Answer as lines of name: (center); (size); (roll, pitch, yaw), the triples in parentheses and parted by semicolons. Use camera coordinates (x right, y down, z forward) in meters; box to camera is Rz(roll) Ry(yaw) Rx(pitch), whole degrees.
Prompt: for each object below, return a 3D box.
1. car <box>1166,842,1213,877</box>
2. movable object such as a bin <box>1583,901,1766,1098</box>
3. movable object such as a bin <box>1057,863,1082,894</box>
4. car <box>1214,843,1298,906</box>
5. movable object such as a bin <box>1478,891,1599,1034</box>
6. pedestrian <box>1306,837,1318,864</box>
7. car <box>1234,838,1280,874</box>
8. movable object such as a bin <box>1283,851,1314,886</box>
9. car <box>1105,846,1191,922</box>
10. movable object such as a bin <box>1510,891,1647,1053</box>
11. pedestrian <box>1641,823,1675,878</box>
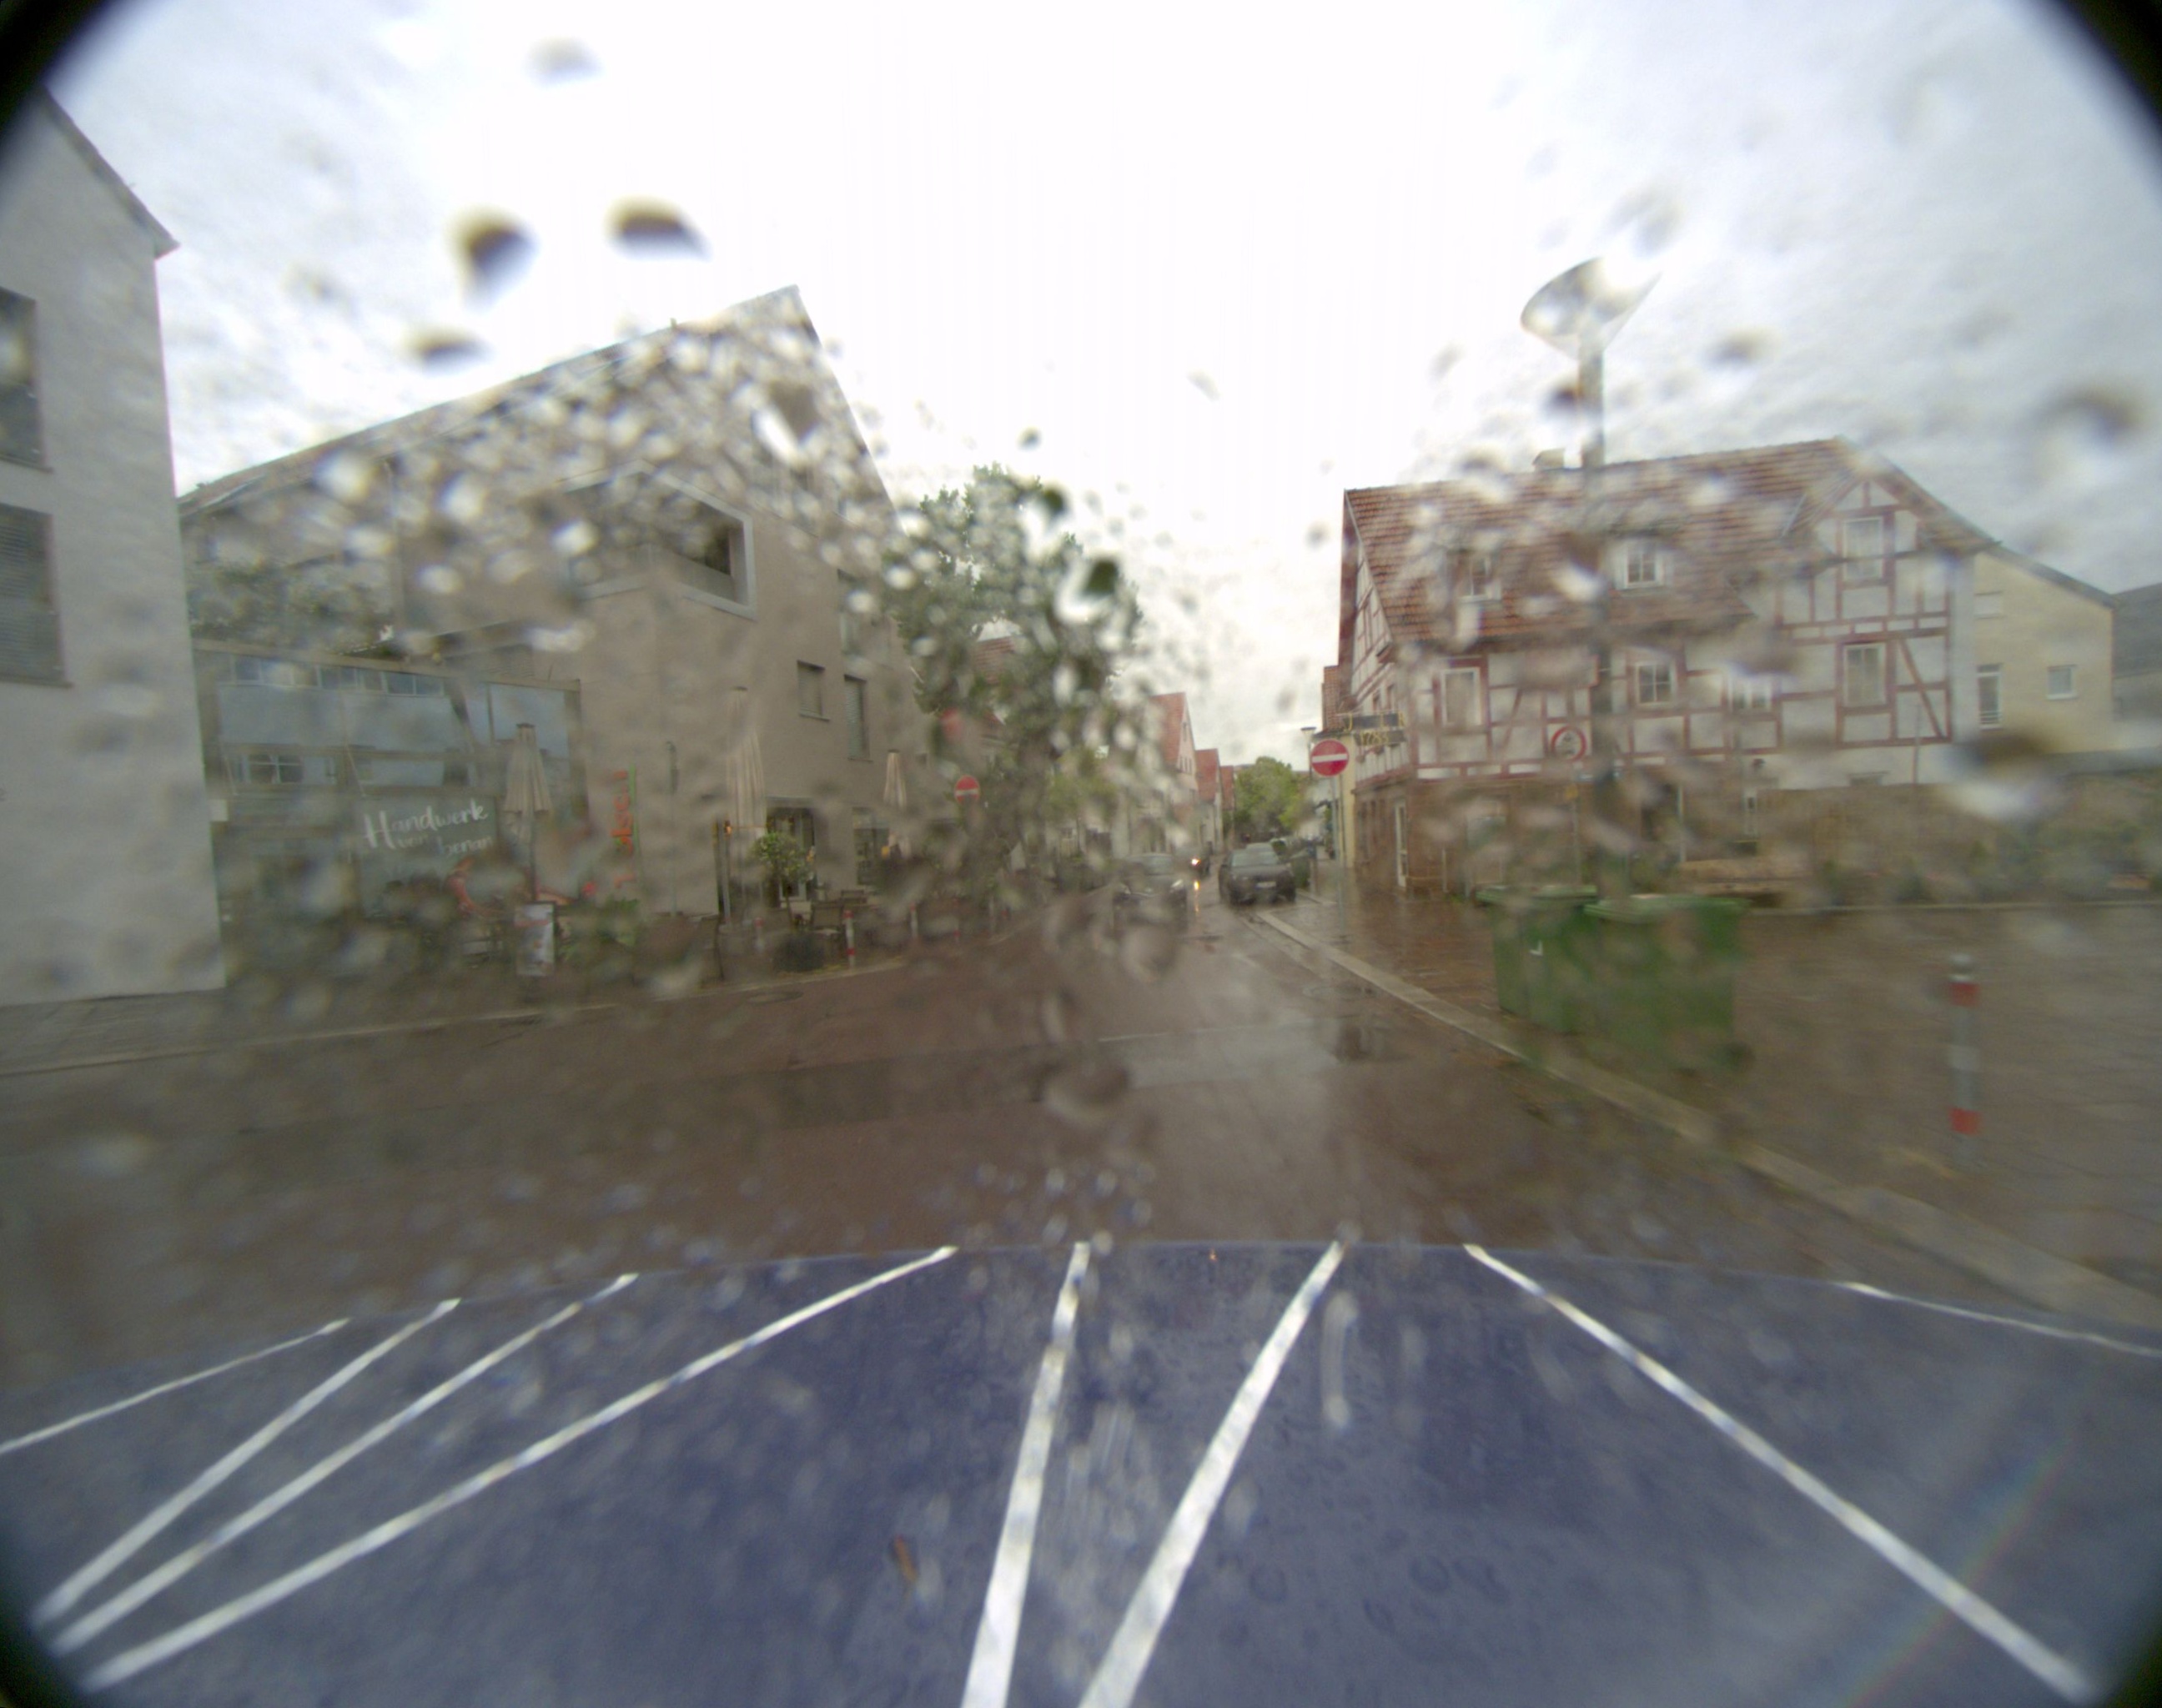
car: (5.973, 0.274, 41.534); (1.996, 1.740, 4.004); (-2, 1, 15)
movable object such as a bin: (3.674, 0.875, 4.751); (0.660, 1.090, 0.613); (-2, 1, 4)
movable object such as a bin: (-0.404, 0.888, 27.430); (0.765, 1.068, 0.538); (-2, 2, 10)
car: (4.886, 0.504, 21.701); (1.693, 1.477, 4.001); (-4, 1, 5)
movable object such as a bin: (3.759, 0.874, 6.283); (0.660, 1.076, 0.552); (-2, 2, 5)
pedestrian: (11.298, -0.173, 37.178); (0.454, 1.300, 0.518); (-3, 1, 16)
car: (8.857, 0.065, 38.067); (1.997, 1.520, 4.003); (-5, 0, 15)
movable object such as a bin: (7.232, 0.476, 25.258); (0.834, 1.105, 0.919); (-2, 1, 7)
car: (1.706, 0.643, 18.229); (1.735, 1.547, 3.847); (-2, 1, 9)
movable object such as a bin: (3.703, 0.864, 5.701); (0.660, 1.108, 0.552); (-2, 2, 5)
pedestrian: (12.525, -0.076, 16.506); (0.412, 1.148, 0.424); (-3, 1, 9)
